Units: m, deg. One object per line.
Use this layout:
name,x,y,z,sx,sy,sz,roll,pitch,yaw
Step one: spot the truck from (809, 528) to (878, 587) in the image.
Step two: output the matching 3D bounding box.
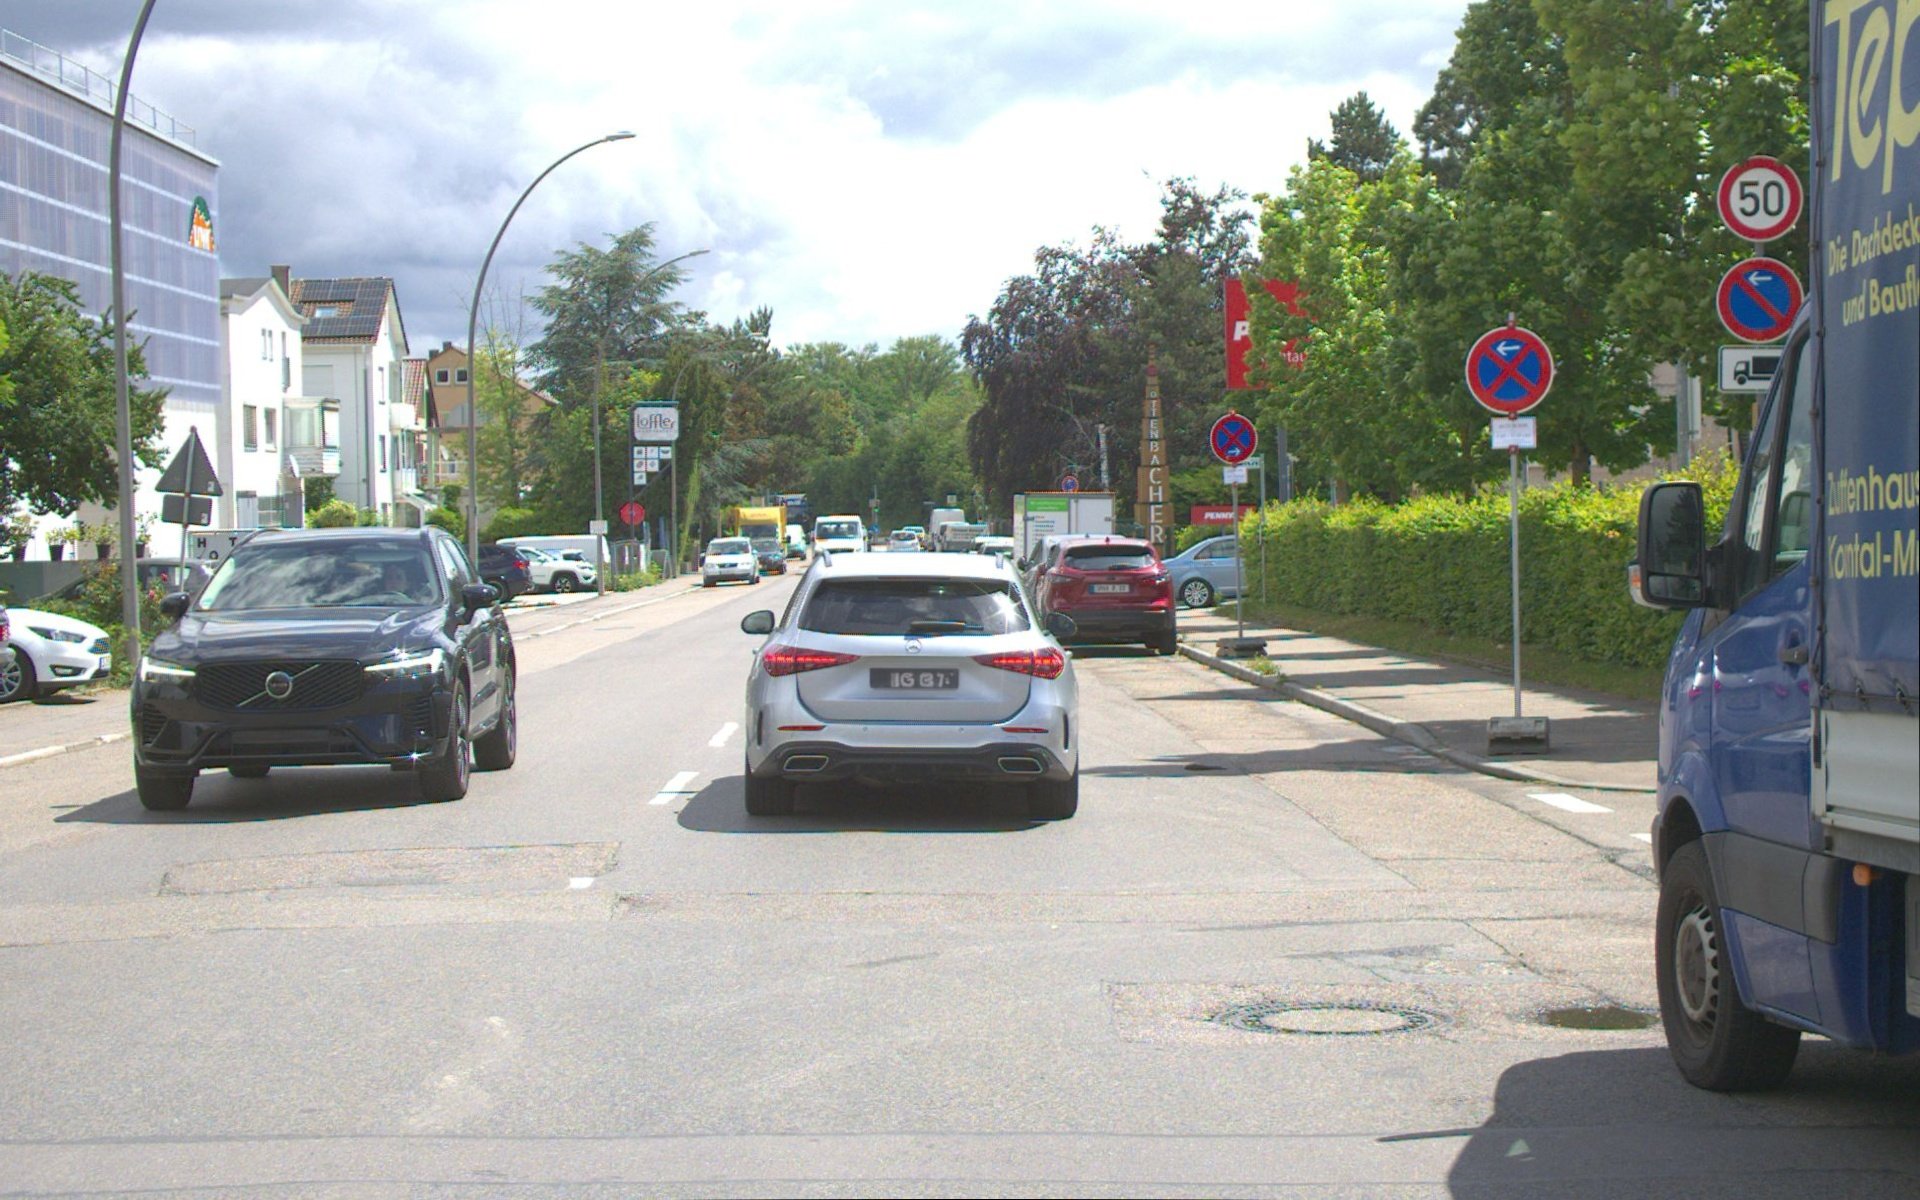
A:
truck,-4.571,-1.704,135.379,2.319,2.171,6.449,-2,1,1

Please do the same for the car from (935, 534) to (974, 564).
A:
car,-0.287,-2.558,172.344,1.784,1.479,4.317,0,1,-3

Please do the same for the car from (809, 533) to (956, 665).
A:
car,-0.992,-0.052,43.485,1.755,1.553,4.001,-1,1,-2

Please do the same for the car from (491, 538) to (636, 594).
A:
car,-12.383,-1.067,107.489,4.279,1.561,1.991,-1,-2,0

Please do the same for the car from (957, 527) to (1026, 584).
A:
car,0.898,-1.310,100.620,1.791,1.546,4.574,-2,1,-2

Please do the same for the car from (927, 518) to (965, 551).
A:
car,-0.746,-3.397,178.734,1.784,1.709,4.317,0,1,-3

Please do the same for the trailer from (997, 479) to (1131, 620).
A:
trailer,1.742,-0.871,58.902,1.941,2.286,4.446,-2,1,-2

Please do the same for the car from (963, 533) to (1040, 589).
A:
car,1.114,-1.092,94.778,1.791,1.445,4.364,-2,2,-3

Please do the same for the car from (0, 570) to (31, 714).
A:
car,-11.123,0.442,32.769,3.987,1.350,1.871,-1,1,2

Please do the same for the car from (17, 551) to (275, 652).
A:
car,-13.041,0.008,55.219,3.628,1.527,1.980,-1,1,1

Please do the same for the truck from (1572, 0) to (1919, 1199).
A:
truck,3.075,-0.174,7.349,2.320,3.086,6.043,1,1,-1

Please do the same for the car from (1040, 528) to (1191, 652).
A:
car,2.110,-0.175,47.690,1.941,1.566,4.446,-1,1,1

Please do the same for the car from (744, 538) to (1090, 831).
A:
car,-0.324,0.400,19.910,1.784,1.479,4.317,0,1,-3

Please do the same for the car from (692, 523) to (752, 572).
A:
car,-8.151,-1.823,118.097,1.791,1.598,4.364,-2,2,-1

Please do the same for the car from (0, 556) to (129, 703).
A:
car,-11.046,0.331,35.679,4.374,1.473,1.871,-1,0,0

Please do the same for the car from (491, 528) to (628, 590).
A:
car,-13.115,-1.335,112.867,4.279,1.830,1.991,-1,-2,-2

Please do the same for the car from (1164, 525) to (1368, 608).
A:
car,6.275,-0.698,70.352,3.988,1.590,1.999,1,1,9

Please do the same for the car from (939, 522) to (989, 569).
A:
car,0.170,-2.453,153.688,2.144,1.977,5.261,-1,1,0

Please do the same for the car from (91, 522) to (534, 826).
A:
car,-3.906,0.366,21.502,1.993,1.610,4.412,-2,2,-2

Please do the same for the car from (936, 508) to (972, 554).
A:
car,-0.326,-3.801,191.130,1.784,2.510,4.317,0,1,-3

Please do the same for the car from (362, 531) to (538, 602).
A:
car,-14.239,-0.951,96.248,4.626,1.627,2.198,-4,2,-4

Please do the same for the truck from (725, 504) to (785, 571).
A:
truck,-9.032,-2.792,151.946,2.075,2.804,7.078,-2,2,0

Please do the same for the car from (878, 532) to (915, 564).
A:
car,-3.133,-2.566,169.311,1.755,1.553,4.001,-1,1,-2
